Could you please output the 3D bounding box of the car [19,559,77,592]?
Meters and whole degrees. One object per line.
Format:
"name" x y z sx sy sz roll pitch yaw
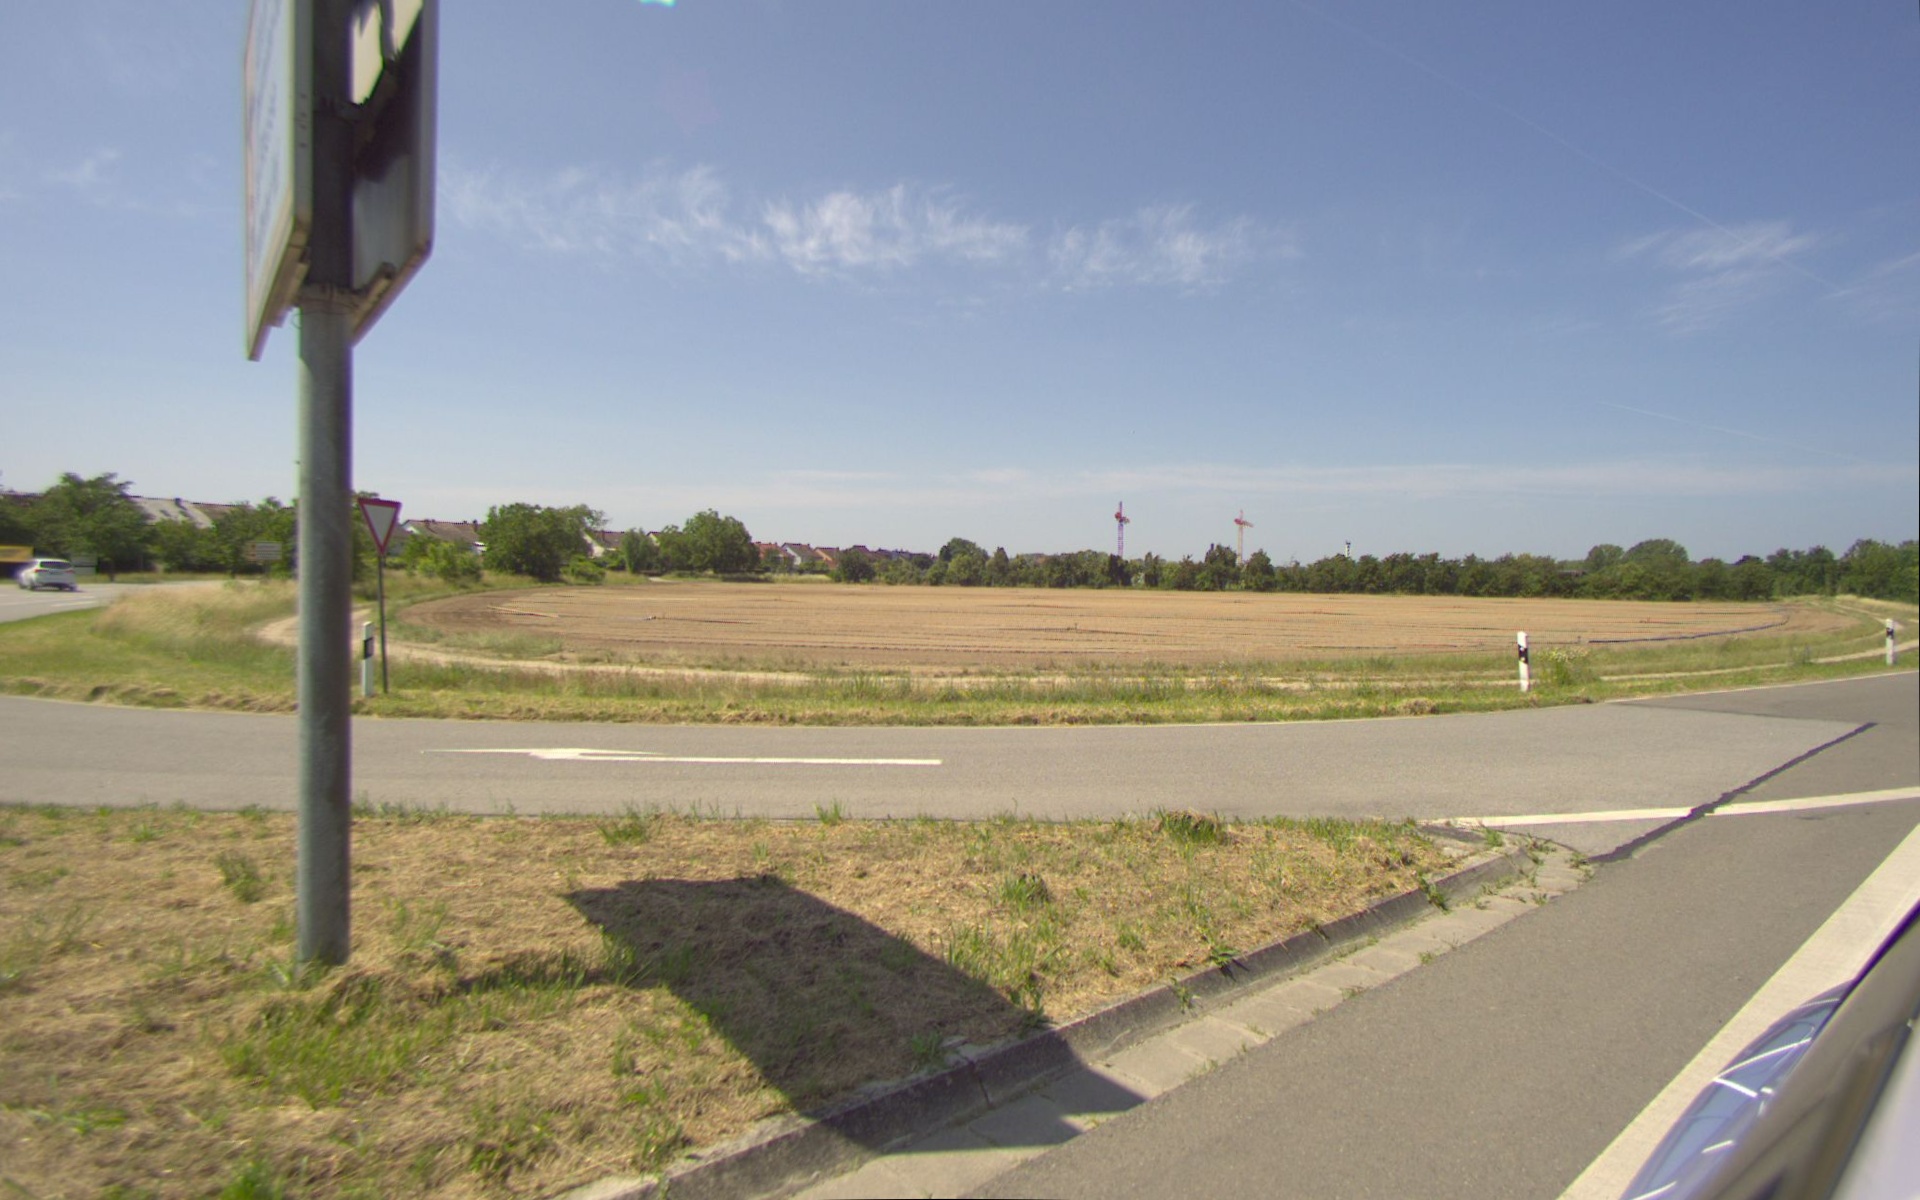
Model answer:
"car" -46.744 -1.258 51.834 2.037 1.644 4.131 0 2 -45
